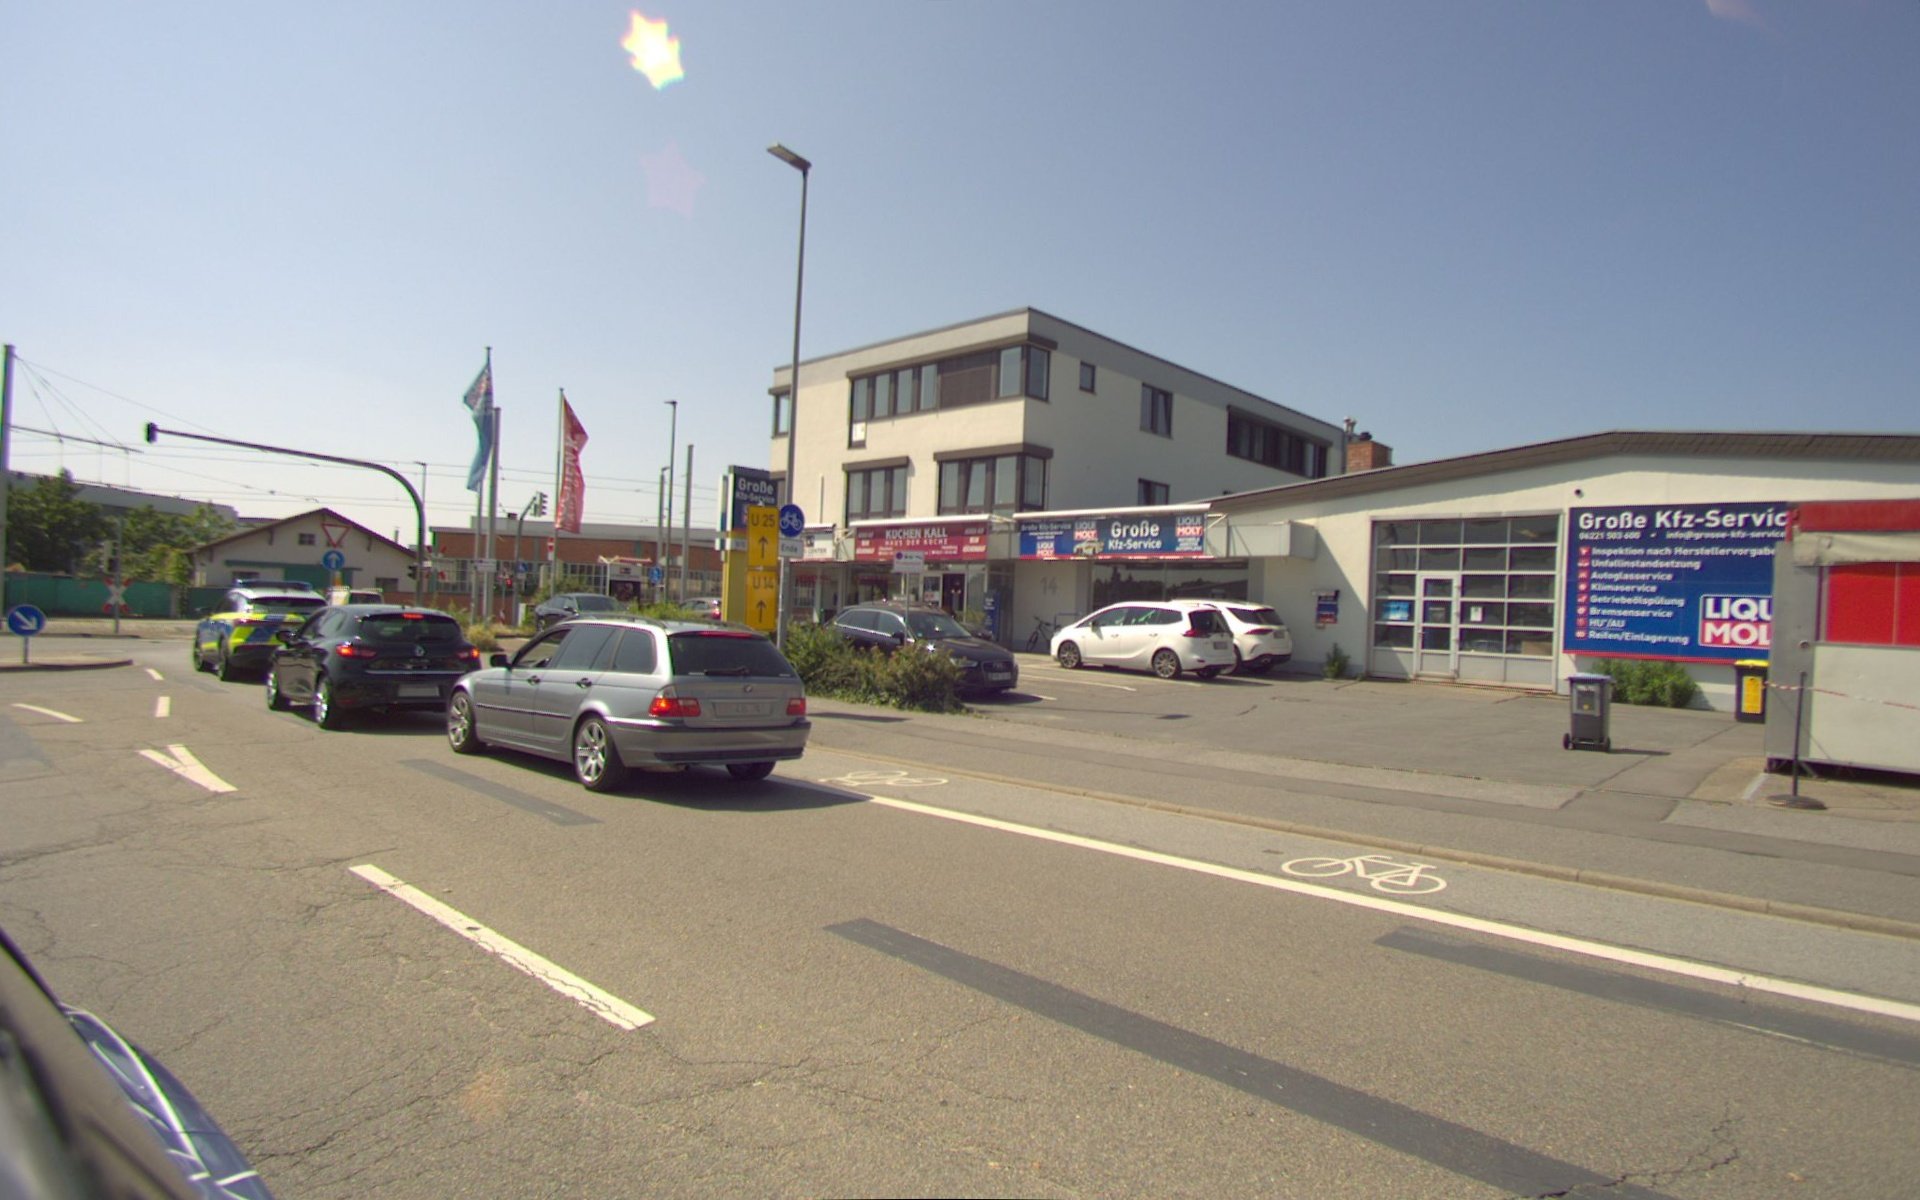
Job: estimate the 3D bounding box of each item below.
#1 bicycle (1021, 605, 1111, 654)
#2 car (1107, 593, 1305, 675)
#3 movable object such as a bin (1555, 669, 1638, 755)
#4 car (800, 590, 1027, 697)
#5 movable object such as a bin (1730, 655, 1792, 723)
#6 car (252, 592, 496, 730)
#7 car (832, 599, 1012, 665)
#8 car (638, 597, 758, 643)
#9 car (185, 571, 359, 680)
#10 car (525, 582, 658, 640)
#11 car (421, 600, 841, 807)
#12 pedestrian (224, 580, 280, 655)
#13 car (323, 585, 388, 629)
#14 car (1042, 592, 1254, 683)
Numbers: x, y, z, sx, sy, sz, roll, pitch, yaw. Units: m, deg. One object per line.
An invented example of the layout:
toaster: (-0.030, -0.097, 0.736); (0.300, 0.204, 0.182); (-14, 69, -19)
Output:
bicycle: (2.993, 0.824, 28.688); (2.450, 1.291, 0.700); (2, -1, 2)
car: (6.026, 0.794, 25.132); (1.885, 1.830, 4.421); (3, -2, -45)
movable object such as a bin: (7.688, 1.336, 12.232); (0.564, 0.929, 0.691); (0, 0, -35)
car: (-0.929, 0.722, 18.520); (4.002, 1.728, 1.883); (1, -2, 45)
movable object such as a bin: (13.594, 1.496, 17.177); (0.579, 1.056, 0.691); (0, 0, -35)
car: (-7.628, 0.696, 12.980); (1.641, 1.465, 4.244); (5, -3, -44)
car: (-1.015, 0.750, 24.793); (1.885, 1.432, 4.421); (3, -2, -45)
car: (-8.908, 0.662, 34.227); (1.885, 1.398, 4.488); (3, -2, -45)
car: (-12.813, 0.434, 18.741); (1.871, 1.772, 4.356); (3, -2, -44)
car: (-11.195, 0.321, 30.535); (1.885, 1.585, 4.821); (3, -2, -45)
car: (-3.195, 0.790, 9.303); (4.324, 1.415, 1.723); (1, -3, 43)
pedestrian: (-16.597, 0.416, 23.735); (0.981, 1.698, 0.801); (3, -2, -37)
car: (-29.062, 0.319, 48.613); (1.966, 1.961, 4.445); (3, -2, -39)
car: (4.223, 0.809, 23.297); (1.885, 1.721, 4.483); (3, 0, -44)
